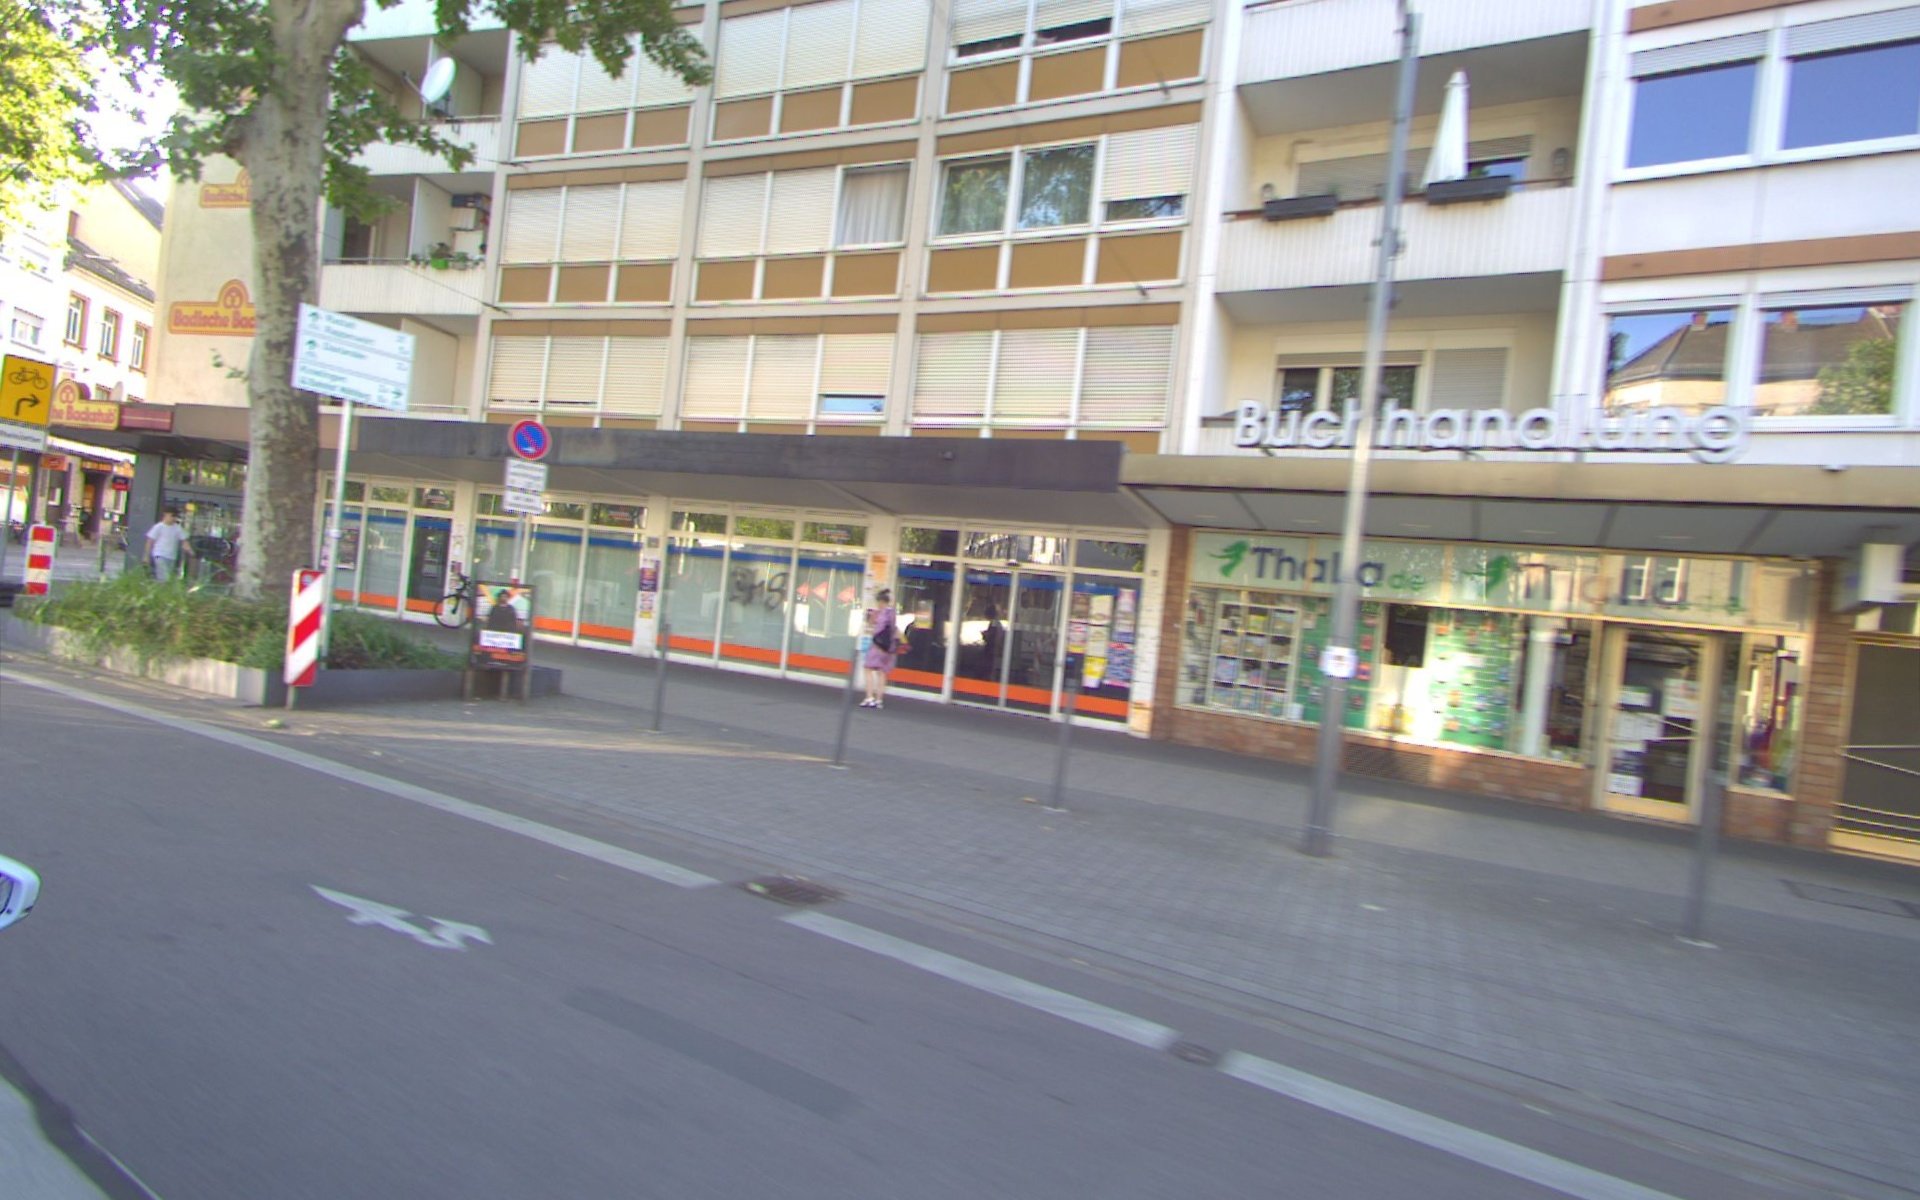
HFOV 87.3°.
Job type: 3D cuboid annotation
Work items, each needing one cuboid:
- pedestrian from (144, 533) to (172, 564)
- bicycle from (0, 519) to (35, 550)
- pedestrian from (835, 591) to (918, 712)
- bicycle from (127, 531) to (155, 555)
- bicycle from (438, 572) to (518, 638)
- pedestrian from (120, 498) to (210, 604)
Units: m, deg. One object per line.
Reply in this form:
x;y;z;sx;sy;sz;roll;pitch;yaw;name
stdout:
-35.821;-2.313;44.923;0.719;1.257;0.553;7;-2;21;pedestrian
-36.343;-2.512;38.688;0.290;1.053;1.714;4;-1;-15;bicycle
-1.167;0.707;14.031;0.793;1.571;0.640;6;1;26;pedestrian
-38.515;-2.681;47.298;0.290;1.054;1.712;4;2;-15;bicycle
-9.179;0.093;19.141;1.435;1.107;0.438;6;2;20;bicycle
-13.903;-0.844;17.612;0.778;1.735;0.837;7;2;16;pedestrian
